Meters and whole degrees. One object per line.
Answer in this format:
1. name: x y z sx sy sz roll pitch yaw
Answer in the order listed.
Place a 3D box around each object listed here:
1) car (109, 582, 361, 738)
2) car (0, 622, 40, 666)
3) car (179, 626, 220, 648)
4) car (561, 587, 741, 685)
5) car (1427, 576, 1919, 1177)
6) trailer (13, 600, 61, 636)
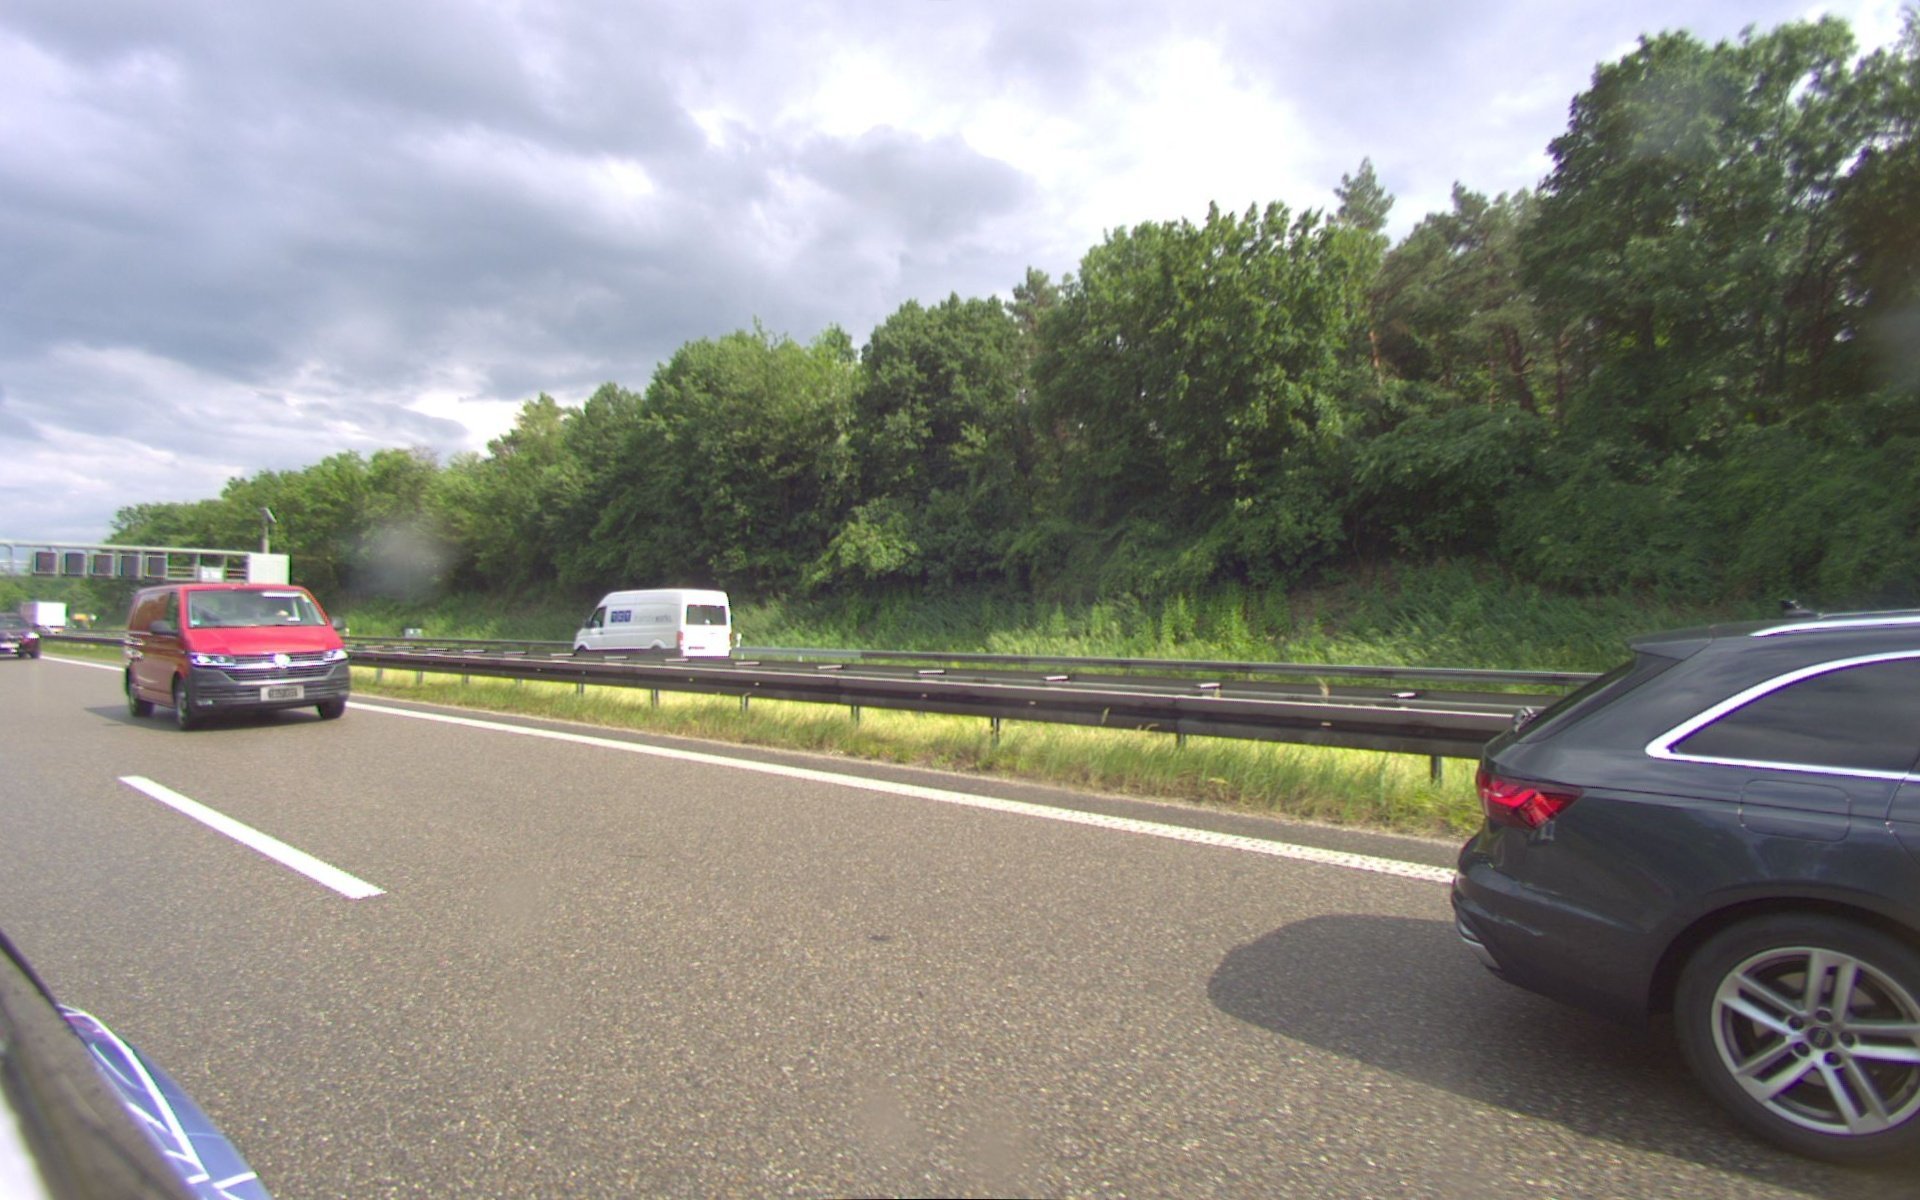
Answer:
1. car: -10.525 0.743 14.543 4.837 1.880 1.902 -1 0 41
2. car: -35.167 1.567 36.832 4.837 1.508 1.983 -1 0 41
3. car: -60.856 2.926 80.986 4.233 1.675 1.714 -1 0 40
4. car: -10.208 1.110 33.007 6.926 2.892 2.240 -1 0 40
5. car: 3.848 0.636 2.207 4.837 1.429 1.775 -1 0 41
6. trailer: -119.440 2.269 130.886 14.082 4.406 2.834 -1 0 40
